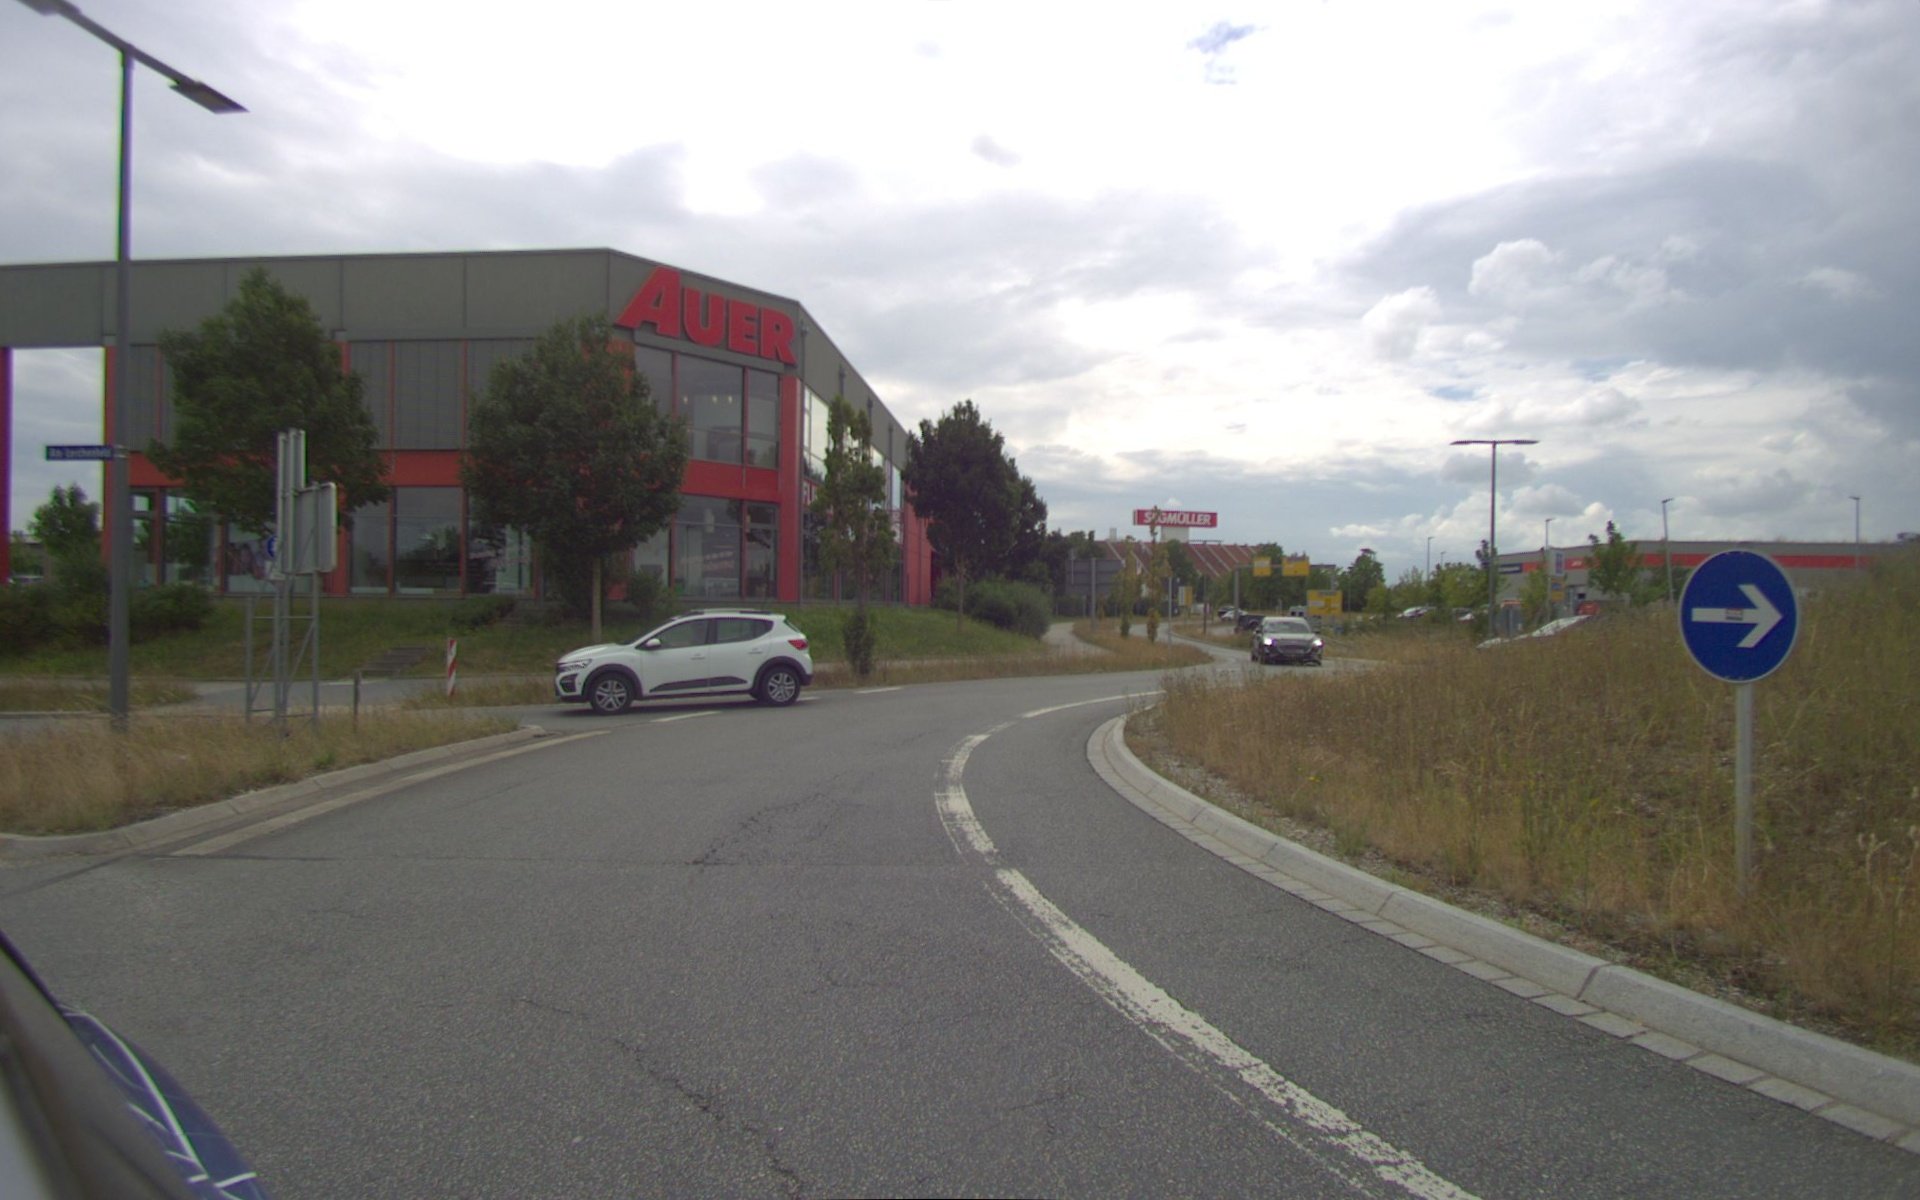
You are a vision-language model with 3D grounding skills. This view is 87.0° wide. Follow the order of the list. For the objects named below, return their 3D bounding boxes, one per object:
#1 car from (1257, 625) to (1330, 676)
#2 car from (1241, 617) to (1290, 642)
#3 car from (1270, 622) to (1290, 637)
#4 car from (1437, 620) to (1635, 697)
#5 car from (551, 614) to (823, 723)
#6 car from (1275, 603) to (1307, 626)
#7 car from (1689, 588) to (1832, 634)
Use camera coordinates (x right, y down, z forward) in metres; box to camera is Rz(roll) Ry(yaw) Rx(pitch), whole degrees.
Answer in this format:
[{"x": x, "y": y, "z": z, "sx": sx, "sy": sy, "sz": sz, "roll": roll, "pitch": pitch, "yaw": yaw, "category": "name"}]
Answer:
[{"x": 10.152, "y": 1.494, "z": 31.014, "sx": 1.658, "sy": 1.260, "sz": 3.583, "roll": 2, "pitch": 1, "yaw": 11, "category": "car"}, {"x": 20.292, "y": 1.923, "z": 67.388, "sx": 1.989, "sy": 1.564, "sz": 3.999, "roll": 1, "pitch": -1, "yaw": 0, "category": "car"}, {"x": 28.519, "y": 2.592, "z": 90.302, "sx": 1.485, "sy": 1.311, "sz": 3.729, "roll": 0, "pitch": -1, "yaw": 14, "category": "car"}, {"x": 13.847, "y": 1.360, "z": 24.329, "sx": 4.222, "sy": 1.620, "sz": 2.007, "roll": 1, "pitch": 1, "yaw": -25, "category": "car"}, {"x": -4.378, "y": 1.030, "z": 16.234, "sx": 4.015, "sy": 1.570, "sz": 1.739, "roll": 1, "pitch": -1, "yaw": -22, "category": "car"}, {"x": 37.602, "y": 1.618, "z": 114.983, "sx": 2.272, "sy": 2.405, "sz": 5.653, "roll": 2, "pitch": 1, "yaw": 30, "category": "car"}, {"x": 55.258, "y": 0.708, "z": 69.983, "sx": 7.587, "sy": 2.841, "sz": 2.469, "roll": 2, "pitch": 1, "yaw": 3, "category": "car"}]
